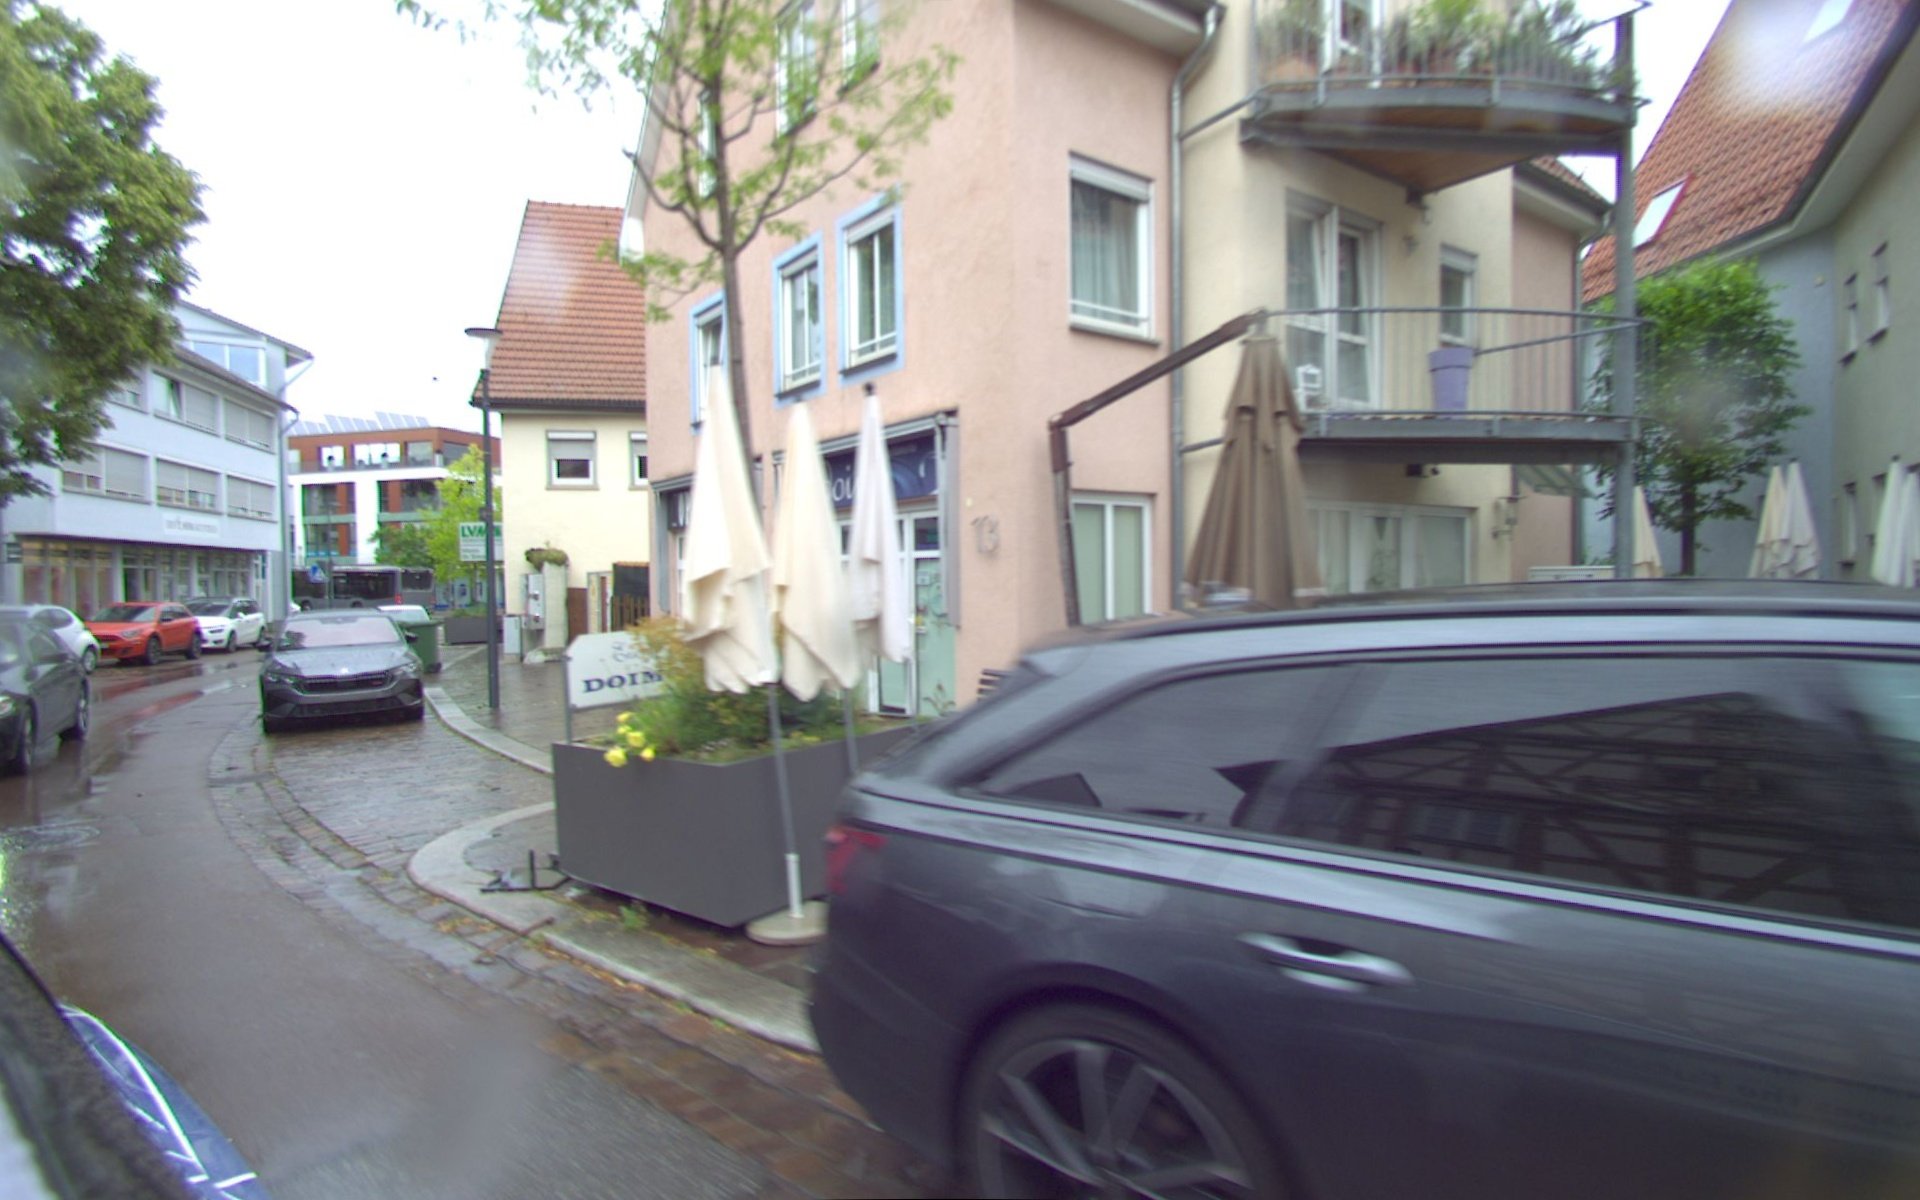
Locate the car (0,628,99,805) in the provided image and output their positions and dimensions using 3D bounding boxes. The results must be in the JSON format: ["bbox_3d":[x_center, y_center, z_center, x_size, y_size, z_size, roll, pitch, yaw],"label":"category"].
[{"bbox_3d":[-10.001,1.038,9.734,1.966,1.417,4.907,-2,0,-33],"label":"car"}]

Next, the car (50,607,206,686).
[{"bbox_3d":[-20.618,1.074,25.285,1.666,1.702,3.970,-1,1,-18],"label":"car"}]

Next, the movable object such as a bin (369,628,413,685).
[{"bbox_3d":[-11.736,1.157,20.891,0.682,1.095,0.548,-3,2,-24],"label":"movable object such as a bin"}]

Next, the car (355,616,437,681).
[{"bbox_3d":[-14.214,1.152,25.622,1.666,1.433,3.829,-1,0,-28],"label":"car"}]

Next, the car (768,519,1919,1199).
[{"bbox_3d":[1.963,0.610,1.778,4.615,1.443,1.787,0,1,34],"label":"car"}]

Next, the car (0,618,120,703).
[{"bbox_3d":[-18.997,1.149,20.384,1.666,1.551,4.417,-1,-1,-18],"label":"car"}]

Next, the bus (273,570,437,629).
[{"bbox_3d":[-36.257,-0.038,60.549,10.622,3.325,2.660,0,1,23],"label":"bus"}]

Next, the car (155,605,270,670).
[{"bbox_3d":[-22.484,1.069,30.616,1.666,1.702,4.293,-1,1,-21],"label":"car"}]

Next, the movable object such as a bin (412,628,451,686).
[{"bbox_3d":[-10.737,1.151,20.582,0.650,1.117,0.626,-1,1,-24],"label":"movable object such as a bin"}]

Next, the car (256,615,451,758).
[{"bbox_3d":[-8.301,1.017,13.796,1.966,1.465,4.386,-1,1,-33],"label":"car"}]
